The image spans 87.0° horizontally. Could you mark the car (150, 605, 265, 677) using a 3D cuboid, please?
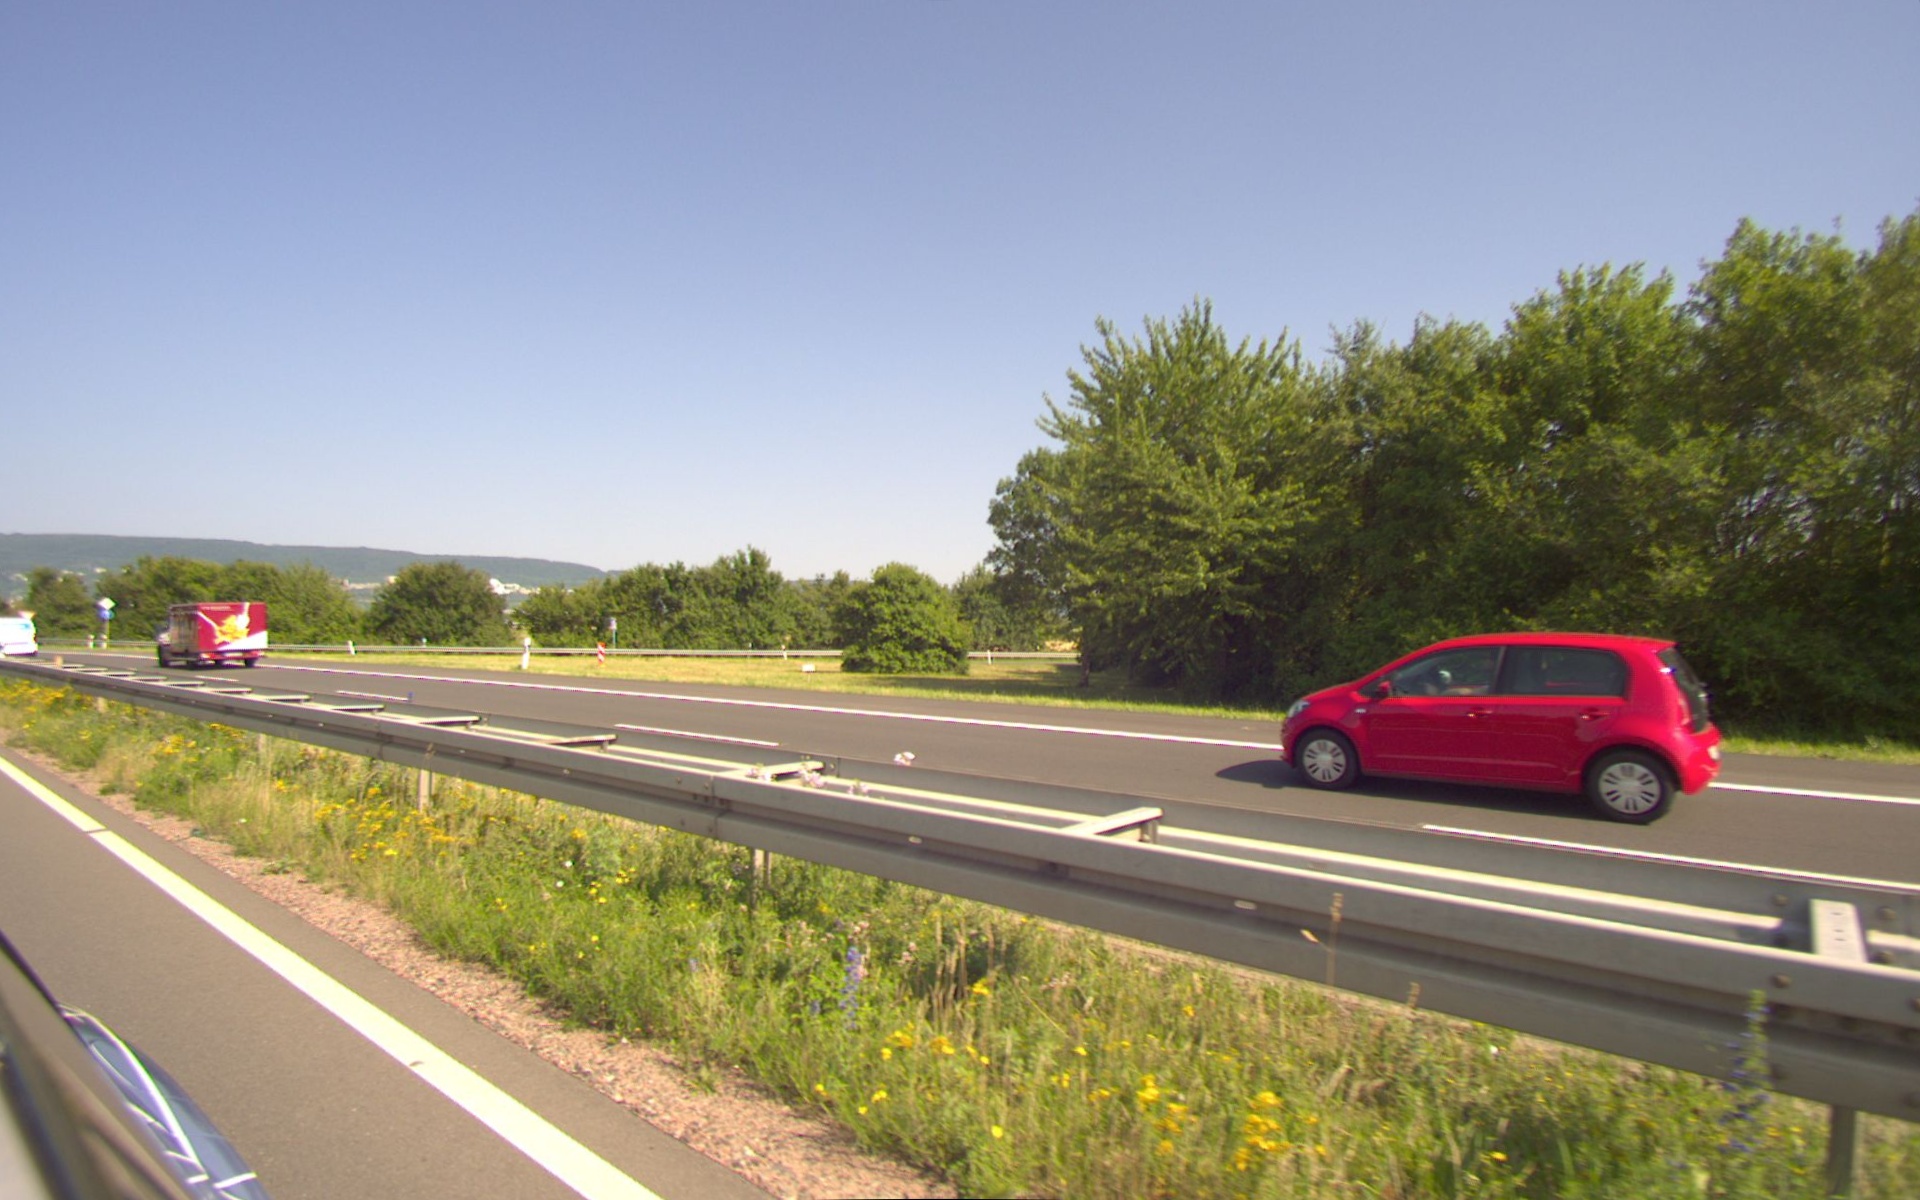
[{"bbox_3d":[-27.470,1.426,36.862,5.877,2.392,2.093,-1,0,40],"label":"car"}]

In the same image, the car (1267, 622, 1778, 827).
[{"bbox_3d":[4.913,0.962,9.130,3.766,1.468,1.612,-2,-3,41],"label":"car"}]

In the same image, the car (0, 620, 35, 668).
[{"bbox_3d":[-43.368,1.966,45.556,4.514,2.029,1.974,-1,0,40],"label":"car"}]
